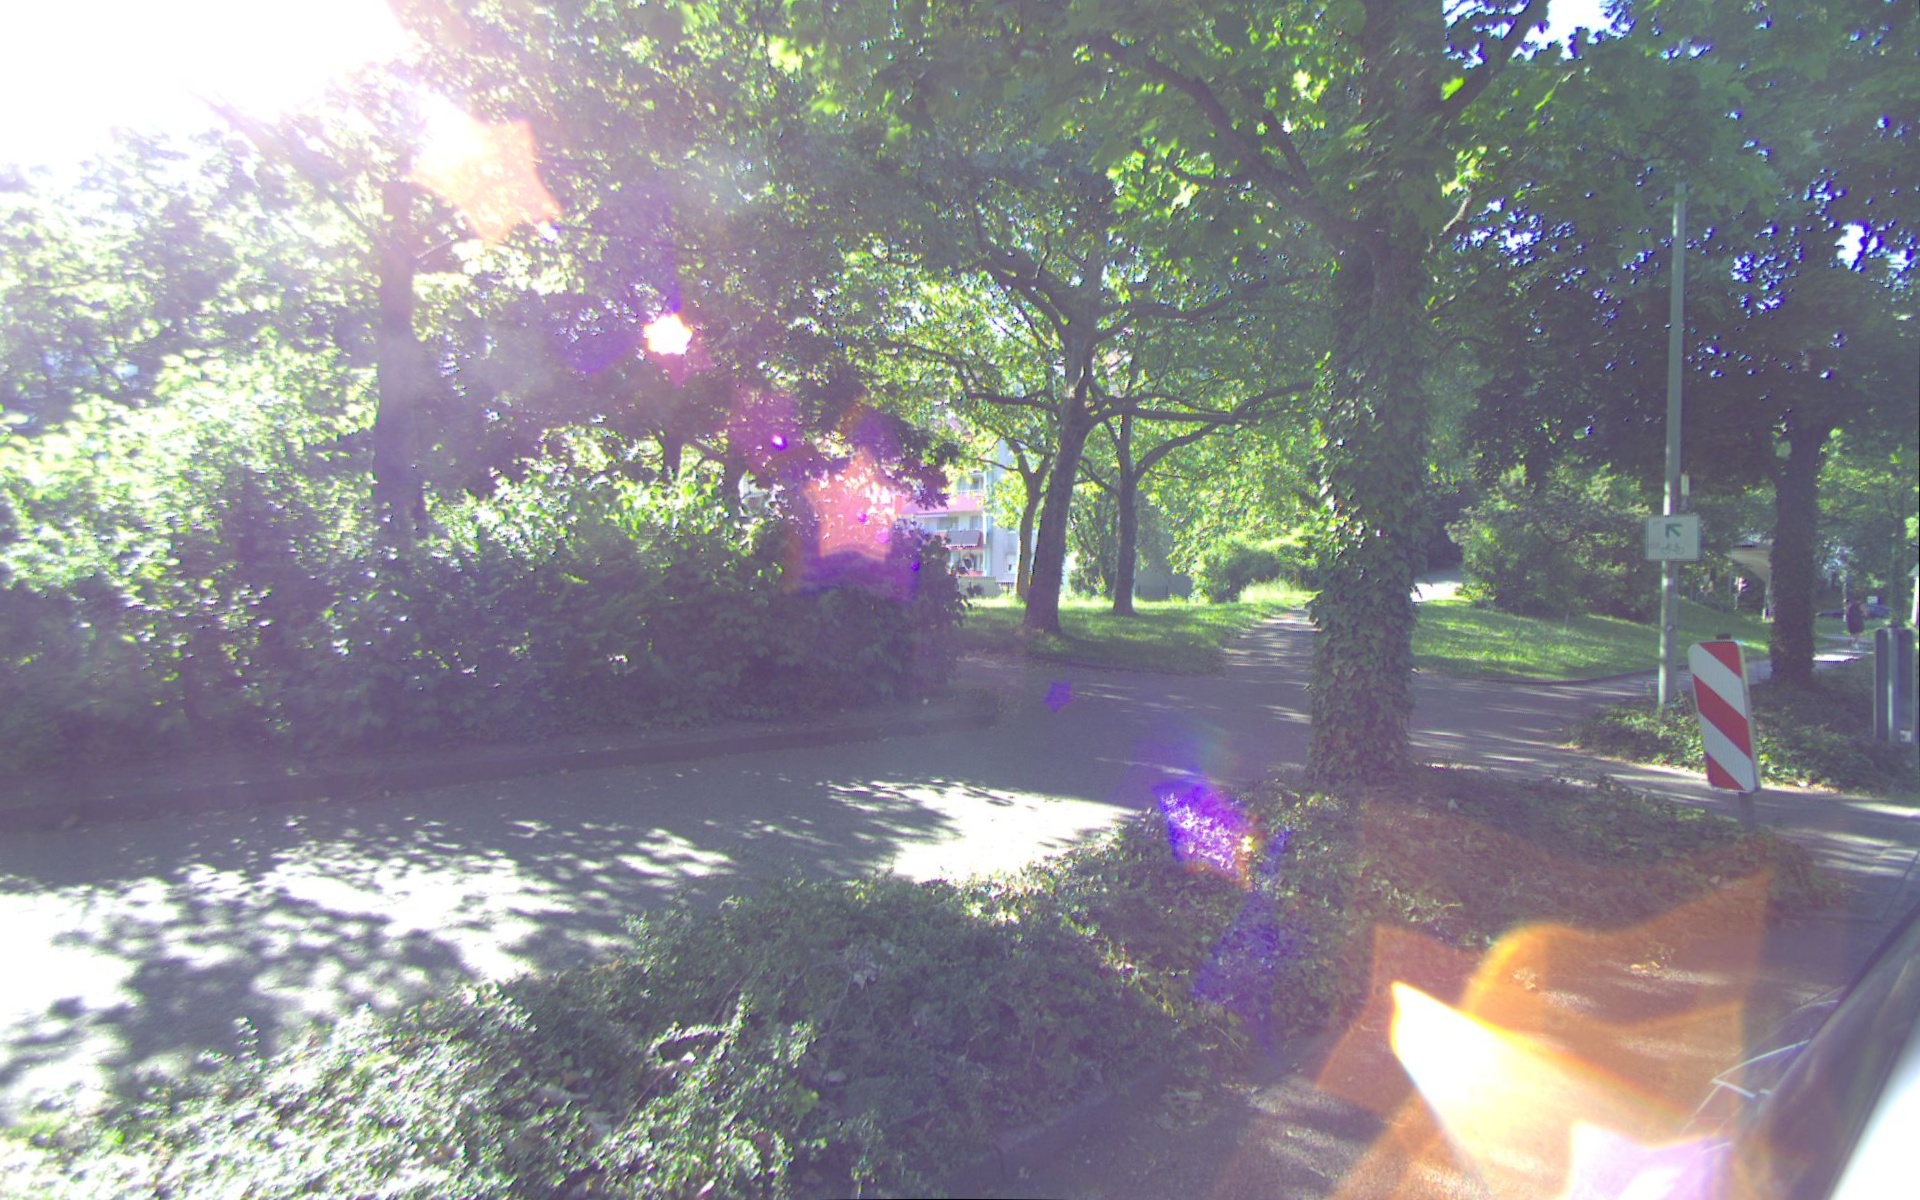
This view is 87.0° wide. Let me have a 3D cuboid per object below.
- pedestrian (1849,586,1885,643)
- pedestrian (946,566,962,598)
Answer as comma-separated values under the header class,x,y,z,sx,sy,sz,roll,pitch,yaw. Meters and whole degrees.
class,x,y,z,sx,sy,sz,roll,pitch,yaw
pedestrian,30.108,0.477,33.587,0.659,1.855,0.792,1,0,-41
pedestrian,-0.283,-0.891,51.009,0.618,1.609,0.676,-1,-1,19
